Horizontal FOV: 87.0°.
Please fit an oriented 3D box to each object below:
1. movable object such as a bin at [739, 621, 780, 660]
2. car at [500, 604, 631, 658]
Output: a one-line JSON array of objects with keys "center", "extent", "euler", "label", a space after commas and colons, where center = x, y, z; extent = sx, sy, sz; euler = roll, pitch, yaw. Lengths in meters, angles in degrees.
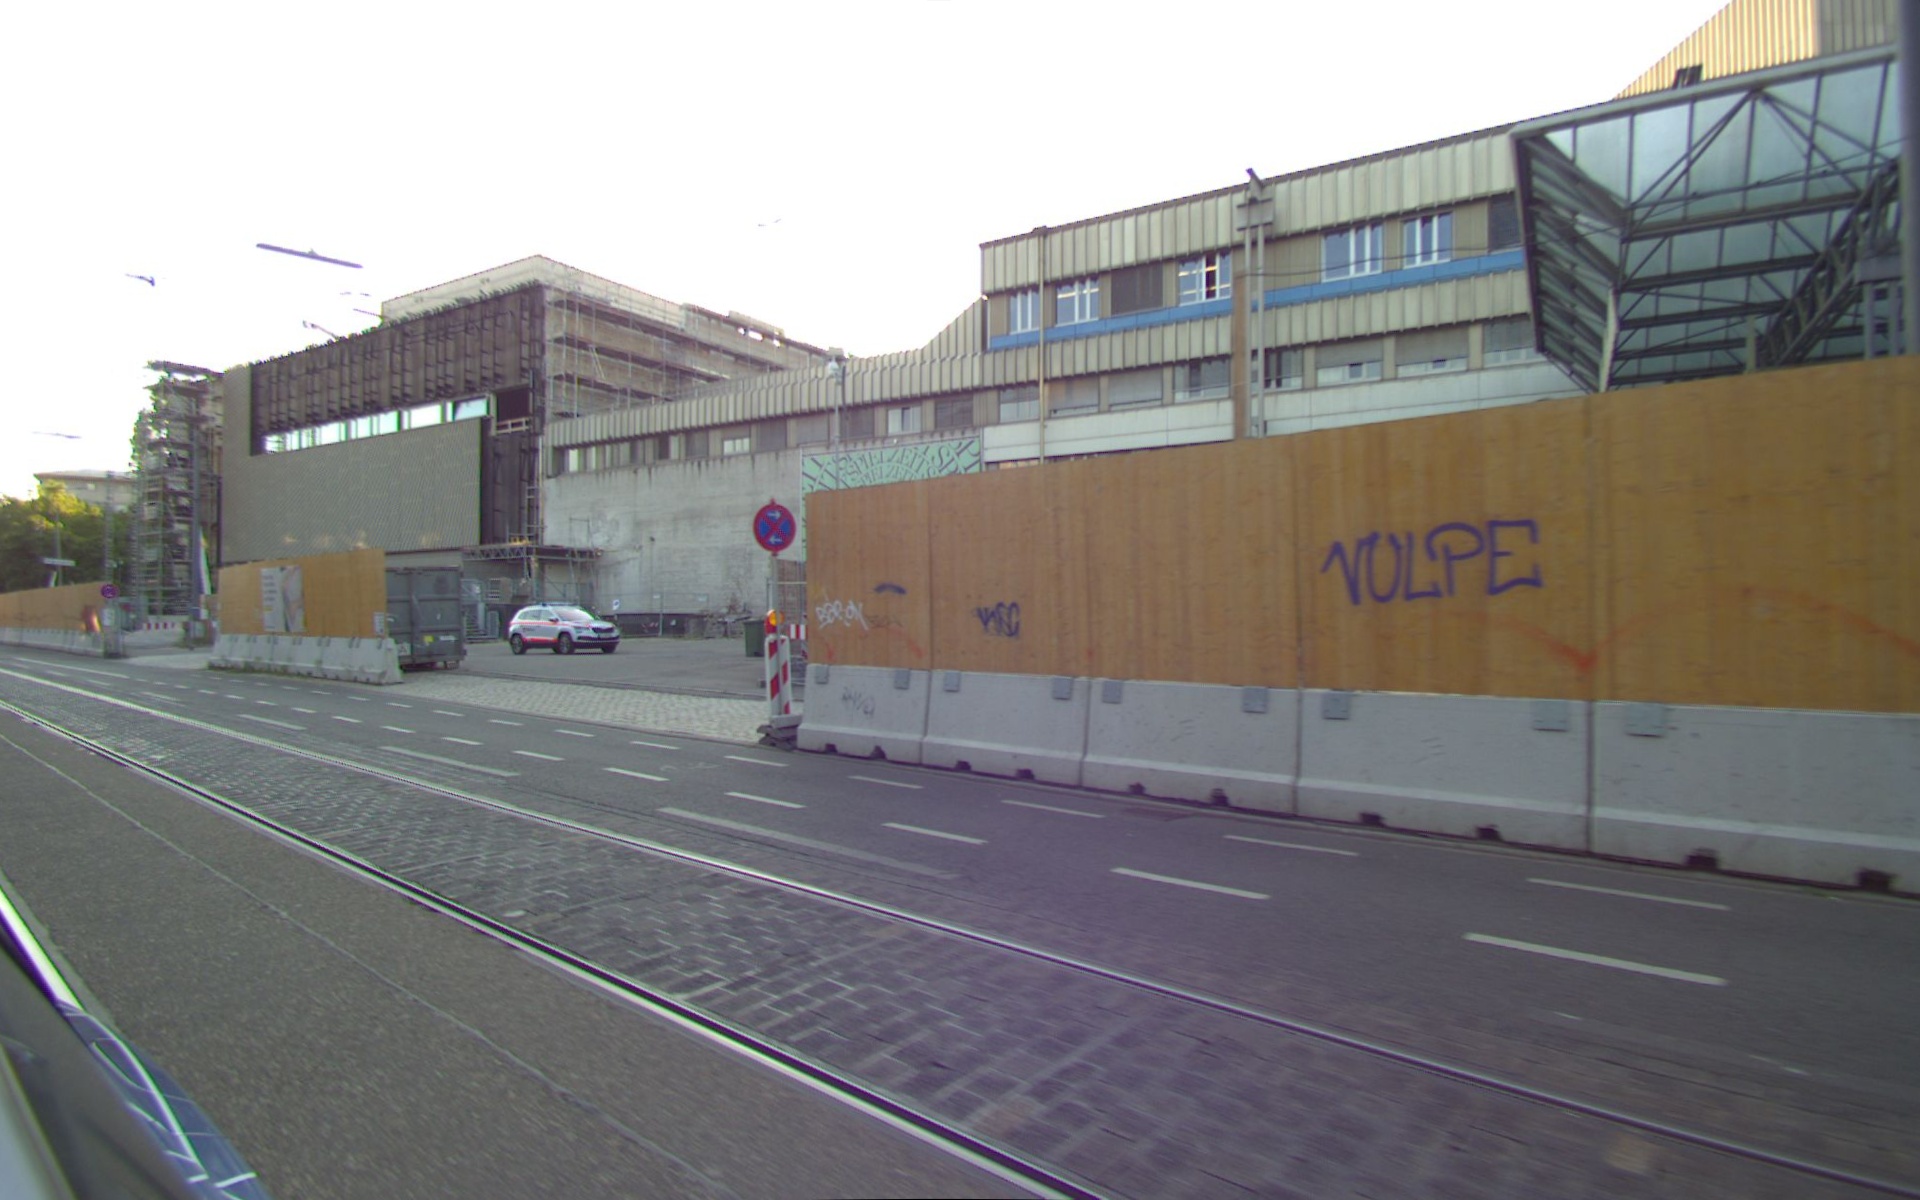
[{"center": [-5.598, 1.116, 28.264], "extent": [0.760, 1.043, 0.832], "euler": [-1, -1, 33], "label": "movable object such as a bin"}, {"center": [-13.049, 0.999, 33.408], "extent": [4.268, 1.676, 1.977], "euler": [-1, -1, 34], "label": "car"}]
